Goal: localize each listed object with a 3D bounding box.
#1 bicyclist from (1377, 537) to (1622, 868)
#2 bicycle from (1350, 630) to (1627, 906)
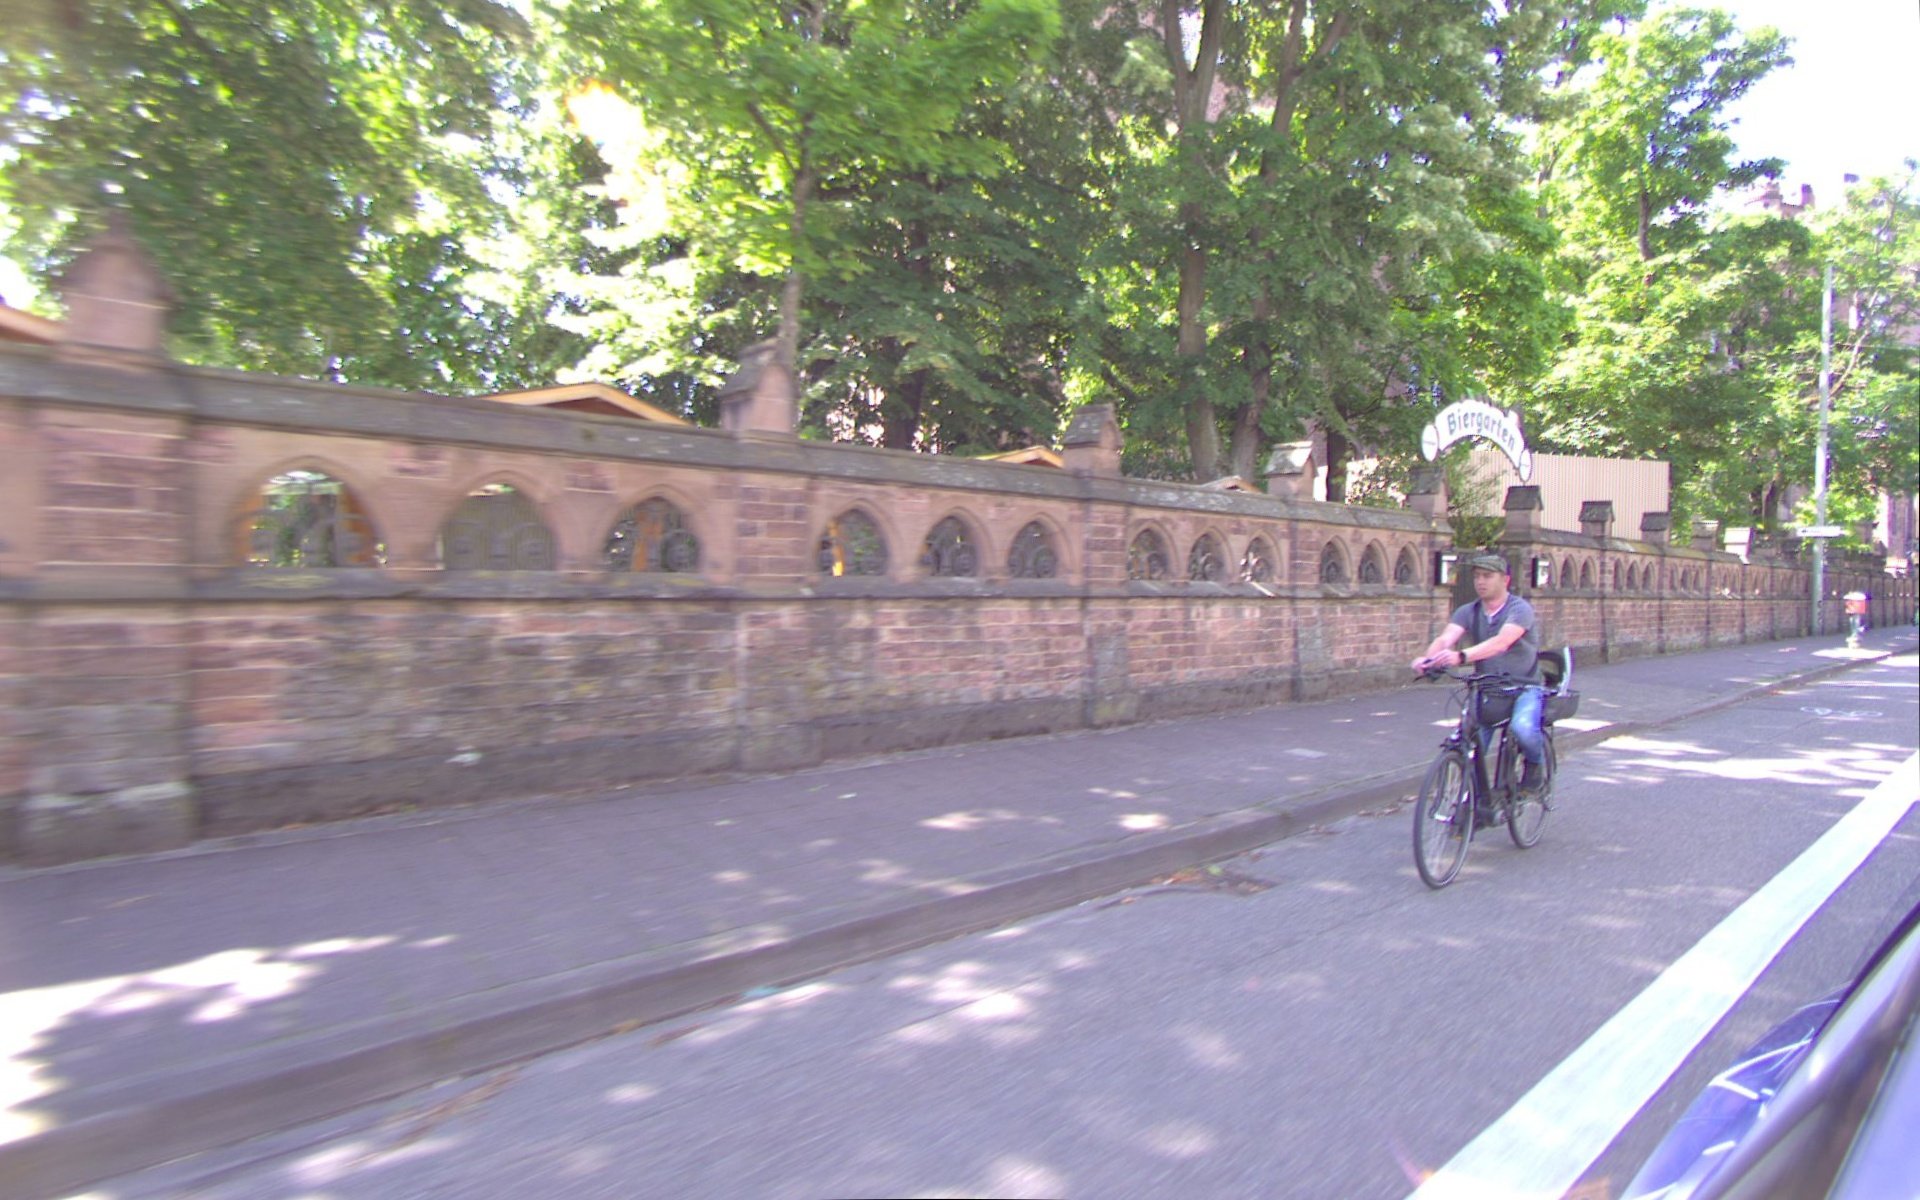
[{"bbox_3d":[2.976,0.497,5.597,0.948,1.616,0.905,0,0,-41],"label":"bicyclist"},{"bbox_3d":[2.998,0.808,5.624,2.086,1.212,0.611,-1,0,-40],"label":"bicycle"}]
